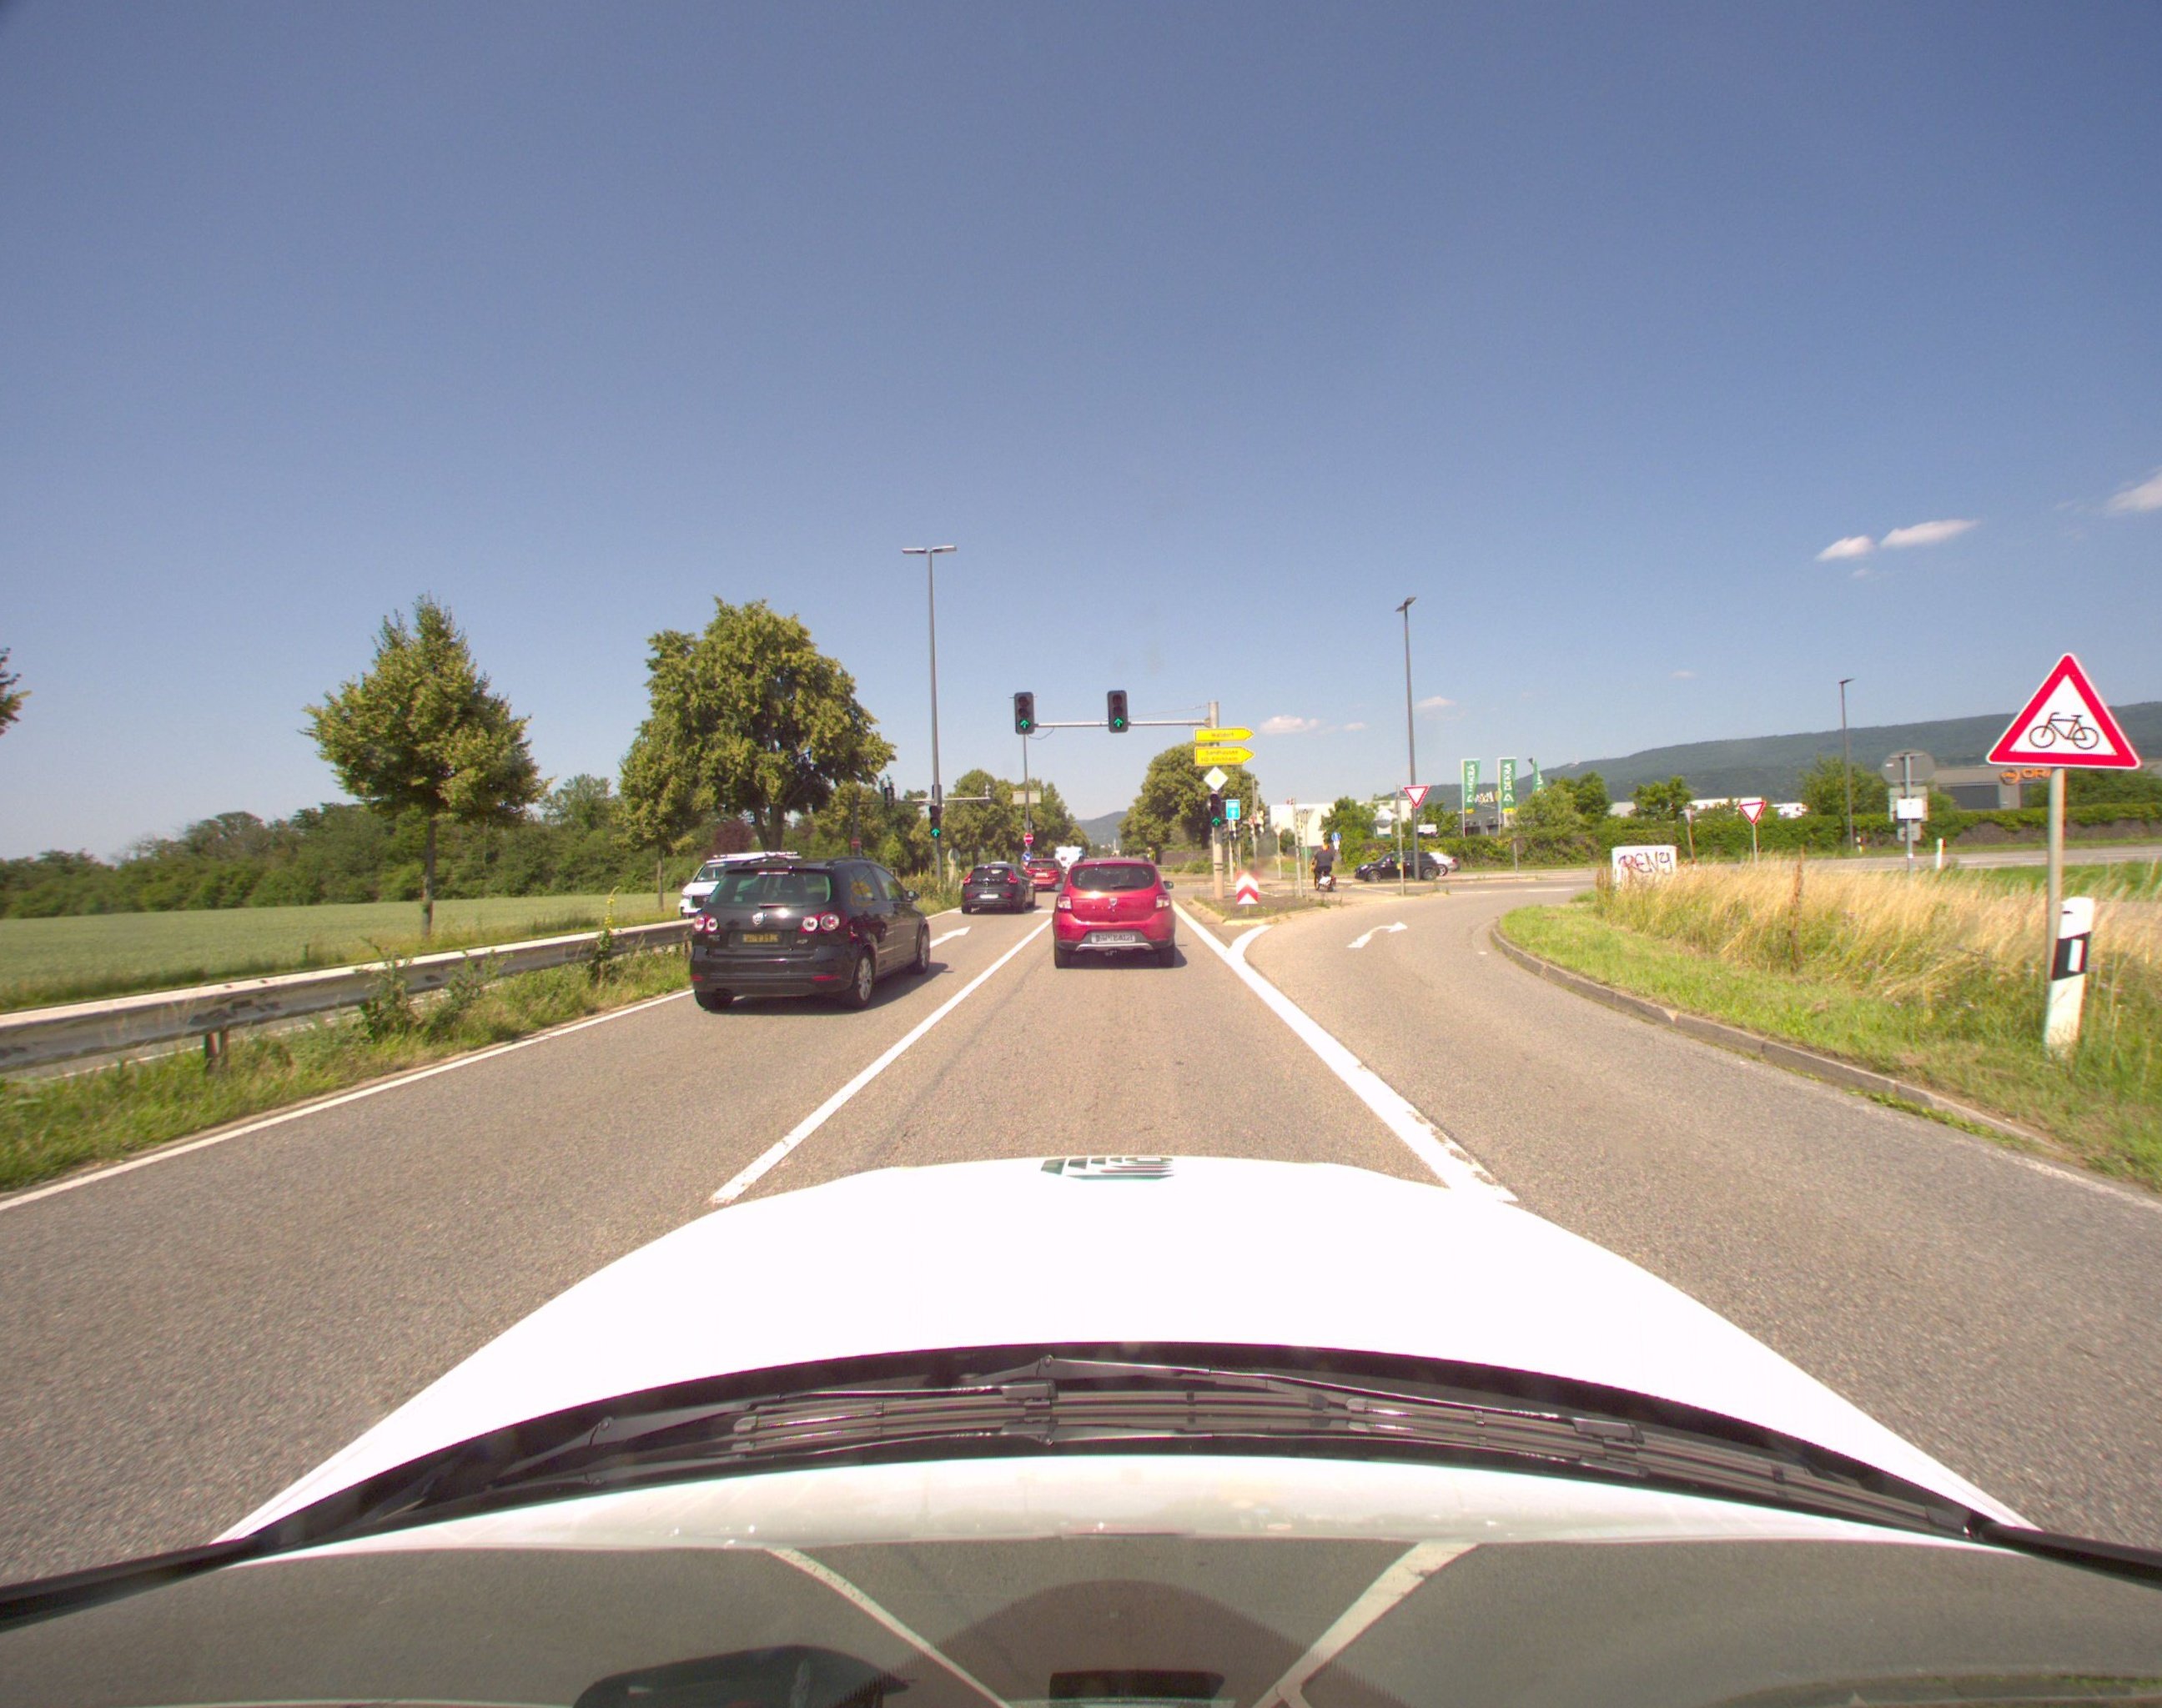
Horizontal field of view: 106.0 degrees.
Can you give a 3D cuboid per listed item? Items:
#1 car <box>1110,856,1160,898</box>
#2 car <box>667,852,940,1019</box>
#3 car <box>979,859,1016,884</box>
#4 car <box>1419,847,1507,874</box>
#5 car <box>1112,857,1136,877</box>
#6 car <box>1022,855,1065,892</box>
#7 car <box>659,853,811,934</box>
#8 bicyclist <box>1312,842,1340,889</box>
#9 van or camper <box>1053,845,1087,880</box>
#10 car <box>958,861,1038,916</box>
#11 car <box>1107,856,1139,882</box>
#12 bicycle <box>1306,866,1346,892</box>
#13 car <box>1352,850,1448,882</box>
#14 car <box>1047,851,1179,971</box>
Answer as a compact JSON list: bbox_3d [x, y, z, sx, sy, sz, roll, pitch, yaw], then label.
[{"bbox_3d":[2.057,0.844,30.902,1.741,1.458,3.680,-1,0,4],"label":"car"},{"bbox_3d":[-2.992,0.784,9.710,1.716,1.576,3.896,-1,0,3],"label":"car"},{"bbox_3d":[-5.885,1.219,57.967,1.986,1.670,4.002,-2,0,2],"label":"car"},{"bbox_3d":[21.187,0.366,45.327,4.326,1.327,1.816,-2,0,22],"label":"car"},{"bbox_3d":[3.343,0.998,62.499,1.741,1.458,3.680,-1,0,4],"label":"car"},{"bbox_3d":[-1.738,0.890,38.556,1.718,1.600,3.956,-1,0,1],"label":"car"},{"bbox_3d":[-9.557,1.002,23.021,1.986,1.980,5.017,-2,0,1],"label":"car"},{"bbox_3d":[9.617,0.449,32.029,0.799,1.771,0.809,-2,0,1],"label":"bicyclist"},{"bbox_3d":[-0.713,0.561,55.473,2.172,2.303,4.826,0,0,0],"label":"van or camper"},{"bbox_3d":[-2.365,0.960,24.109,1.695,1.442,3.959,-1,0,3],"label":"car"},{"bbox_3d":[2.493,0.841,47.577,1.741,1.458,3.680,-1,0,4],"label":"car"},{"bbox_3d":[9.633,0.950,32.130,0.758,0.915,2.781,-2,0,2],"label":"bicycle"},{"bbox_3d":[14.916,0.544,38.244,3.959,1.327,1.813,-2,0,13],"label":"car"},{"bbox_3d":[0.562,0.777,12.767,1.741,1.576,3.680,-1,0,4],"label":"car"}]
